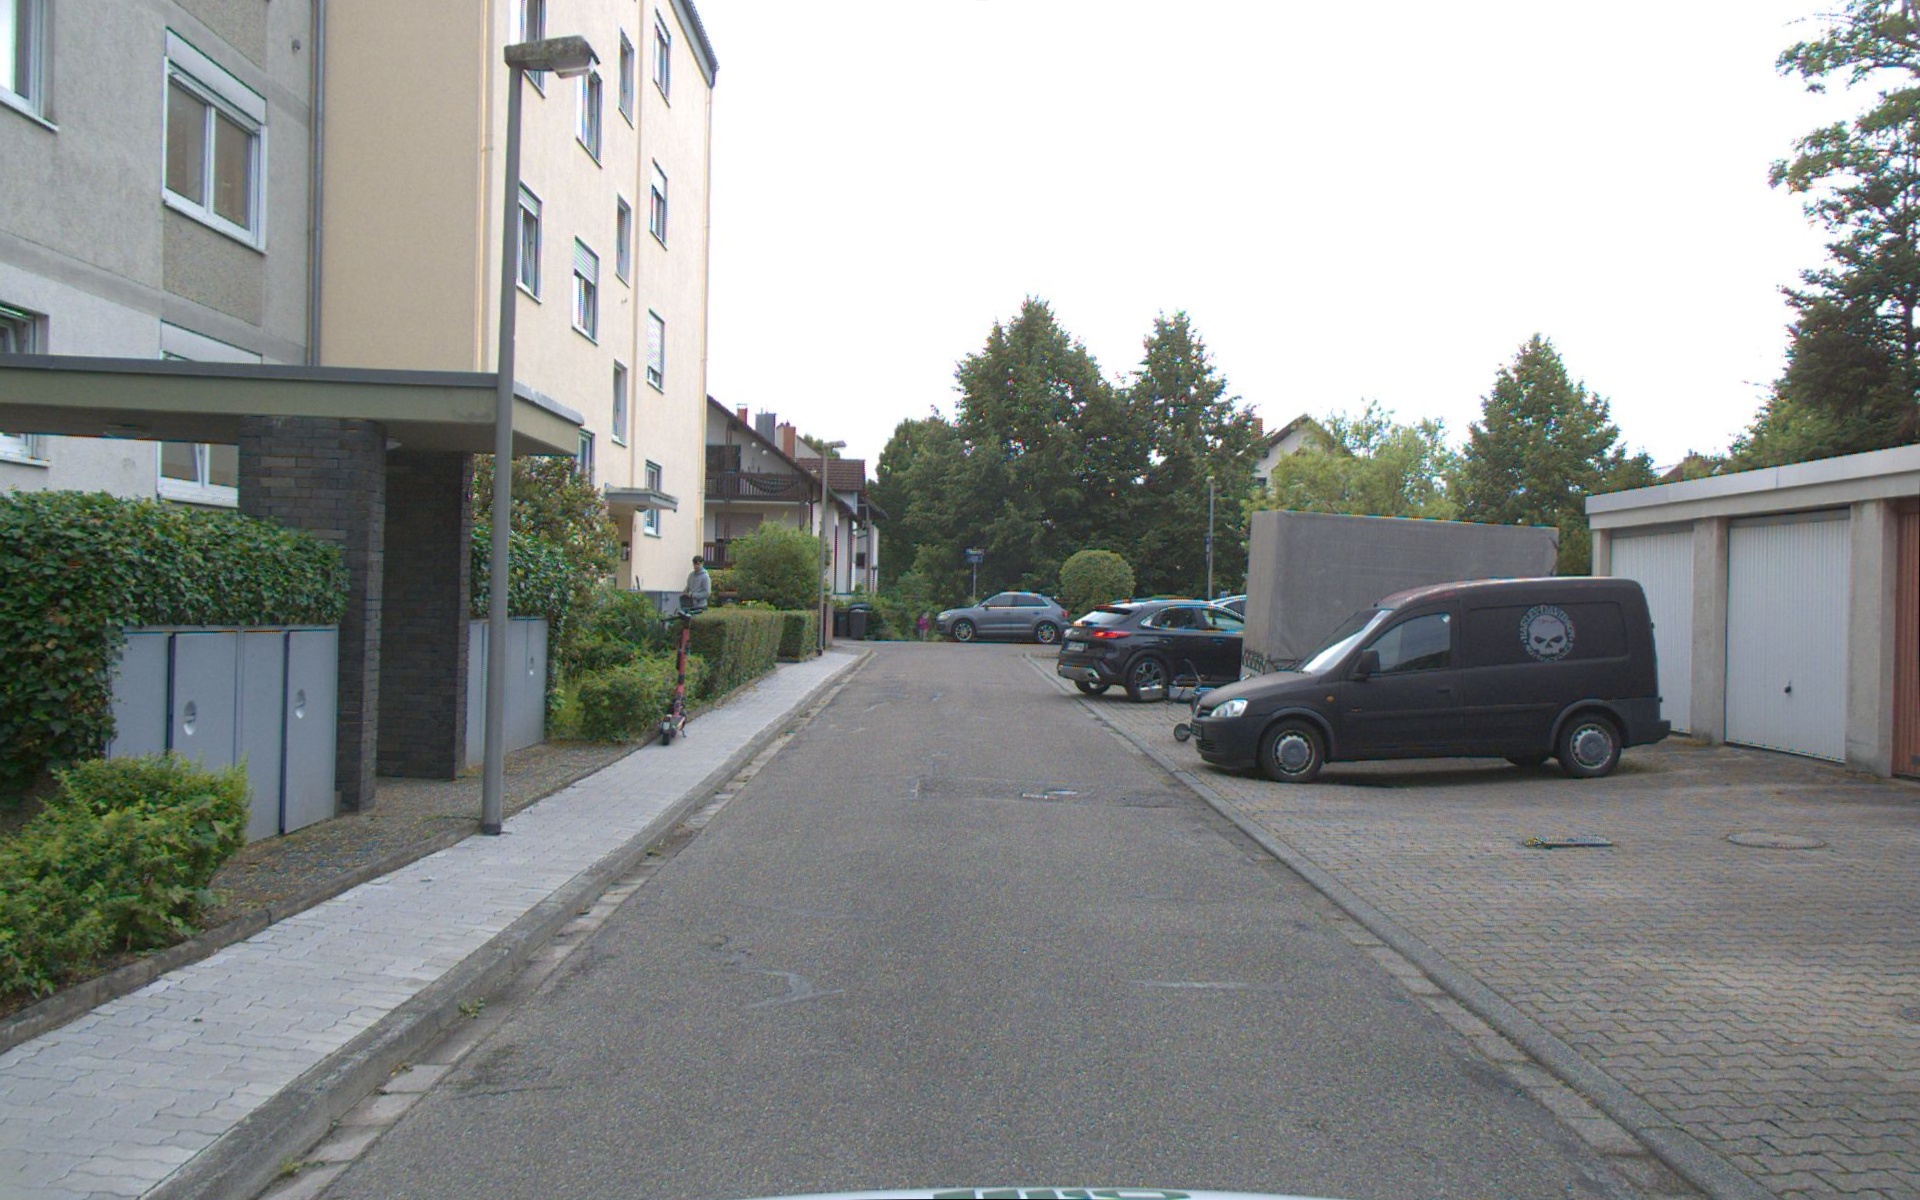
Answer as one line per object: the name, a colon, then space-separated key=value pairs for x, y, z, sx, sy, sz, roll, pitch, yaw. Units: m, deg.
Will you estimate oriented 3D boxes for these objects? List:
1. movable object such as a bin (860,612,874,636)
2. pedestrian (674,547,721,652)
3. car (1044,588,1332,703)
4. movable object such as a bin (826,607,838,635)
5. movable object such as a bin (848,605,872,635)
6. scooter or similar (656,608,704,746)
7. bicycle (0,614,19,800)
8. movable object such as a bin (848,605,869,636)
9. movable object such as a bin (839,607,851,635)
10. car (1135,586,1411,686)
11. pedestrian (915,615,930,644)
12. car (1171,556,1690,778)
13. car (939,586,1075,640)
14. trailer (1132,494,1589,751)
movable object such as a bin: x=-3.114 y=0.802 z=55.455 sx=0.450 sy=0.811 sz=0.379 roll=2 pitch=0 yaw=-3
pedestrian: x=-4.580 y=-0.005 z=28.839 sx=0.665 sy=1.779 sz=0.756 roll=2 pitch=0 yaw=-2
car: x=3.488 y=0.644 z=25.427 sx=3.928 sy=1.579 sz=1.989 roll=-1 pitch=0 yaw=-20
movable object such as a bin: x=-4.258 y=0.701 z=55.032 sx=0.378 sy=0.917 sz=0.379 roll=2 pitch=0 yaw=-3
movable object such as a bin: x=-3.266 y=0.655 z=54.206 sx=0.719 sy=0.970 sz=0.584 roll=2 pitch=0 yaw=-1
scooter or similar: x=-2.636 y=0.699 z=15.609 sx=0.267 sy=1.232 sz=1.164 roll=1 pitch=0 yaw=-2
bicycle: x=-5.622 y=0.606 z=8.733 sx=0.366 sy=1.052 sz=1.546 roll=3 pitch=0 yaw=0
movable object such as a bin: x=-3.276 y=0.662 z=53.464 sx=0.625 sy=0.970 sz=0.723 roll=2 pitch=0 yaw=-2
movable object such as a bin: x=-3.834 y=0.687 z=55.063 sx=0.378 sy=0.905 sz=0.379 roll=2 pitch=0 yaw=-3
car: x=5.380 y=0.603 z=28.870 sx=4.443 sy=1.616 sz=1.988 roll=1 pitch=0 yaw=1
pedestrian: x=-1.977 y=1.547 z=87.179 sx=0.799 sy=1.544 sz=0.438 roll=1 pitch=-1 yaw=-3
car: x=4.237 y=0.567 z=15.396 sx=4.223 sy=1.833 sz=1.999 roll=-1 pitch=0 yaw=-2
car: x=1.428 y=0.419 z=51.439 sx=4.151 sy=1.558 sz=1.747 roll=1 pitch=-2 yaw=-1
trailer: x=4.277 y=0.228 z=18.211 sx=4.515 sy=2.569 sz=1.942 roll=1 pitch=0 yaw=-1
